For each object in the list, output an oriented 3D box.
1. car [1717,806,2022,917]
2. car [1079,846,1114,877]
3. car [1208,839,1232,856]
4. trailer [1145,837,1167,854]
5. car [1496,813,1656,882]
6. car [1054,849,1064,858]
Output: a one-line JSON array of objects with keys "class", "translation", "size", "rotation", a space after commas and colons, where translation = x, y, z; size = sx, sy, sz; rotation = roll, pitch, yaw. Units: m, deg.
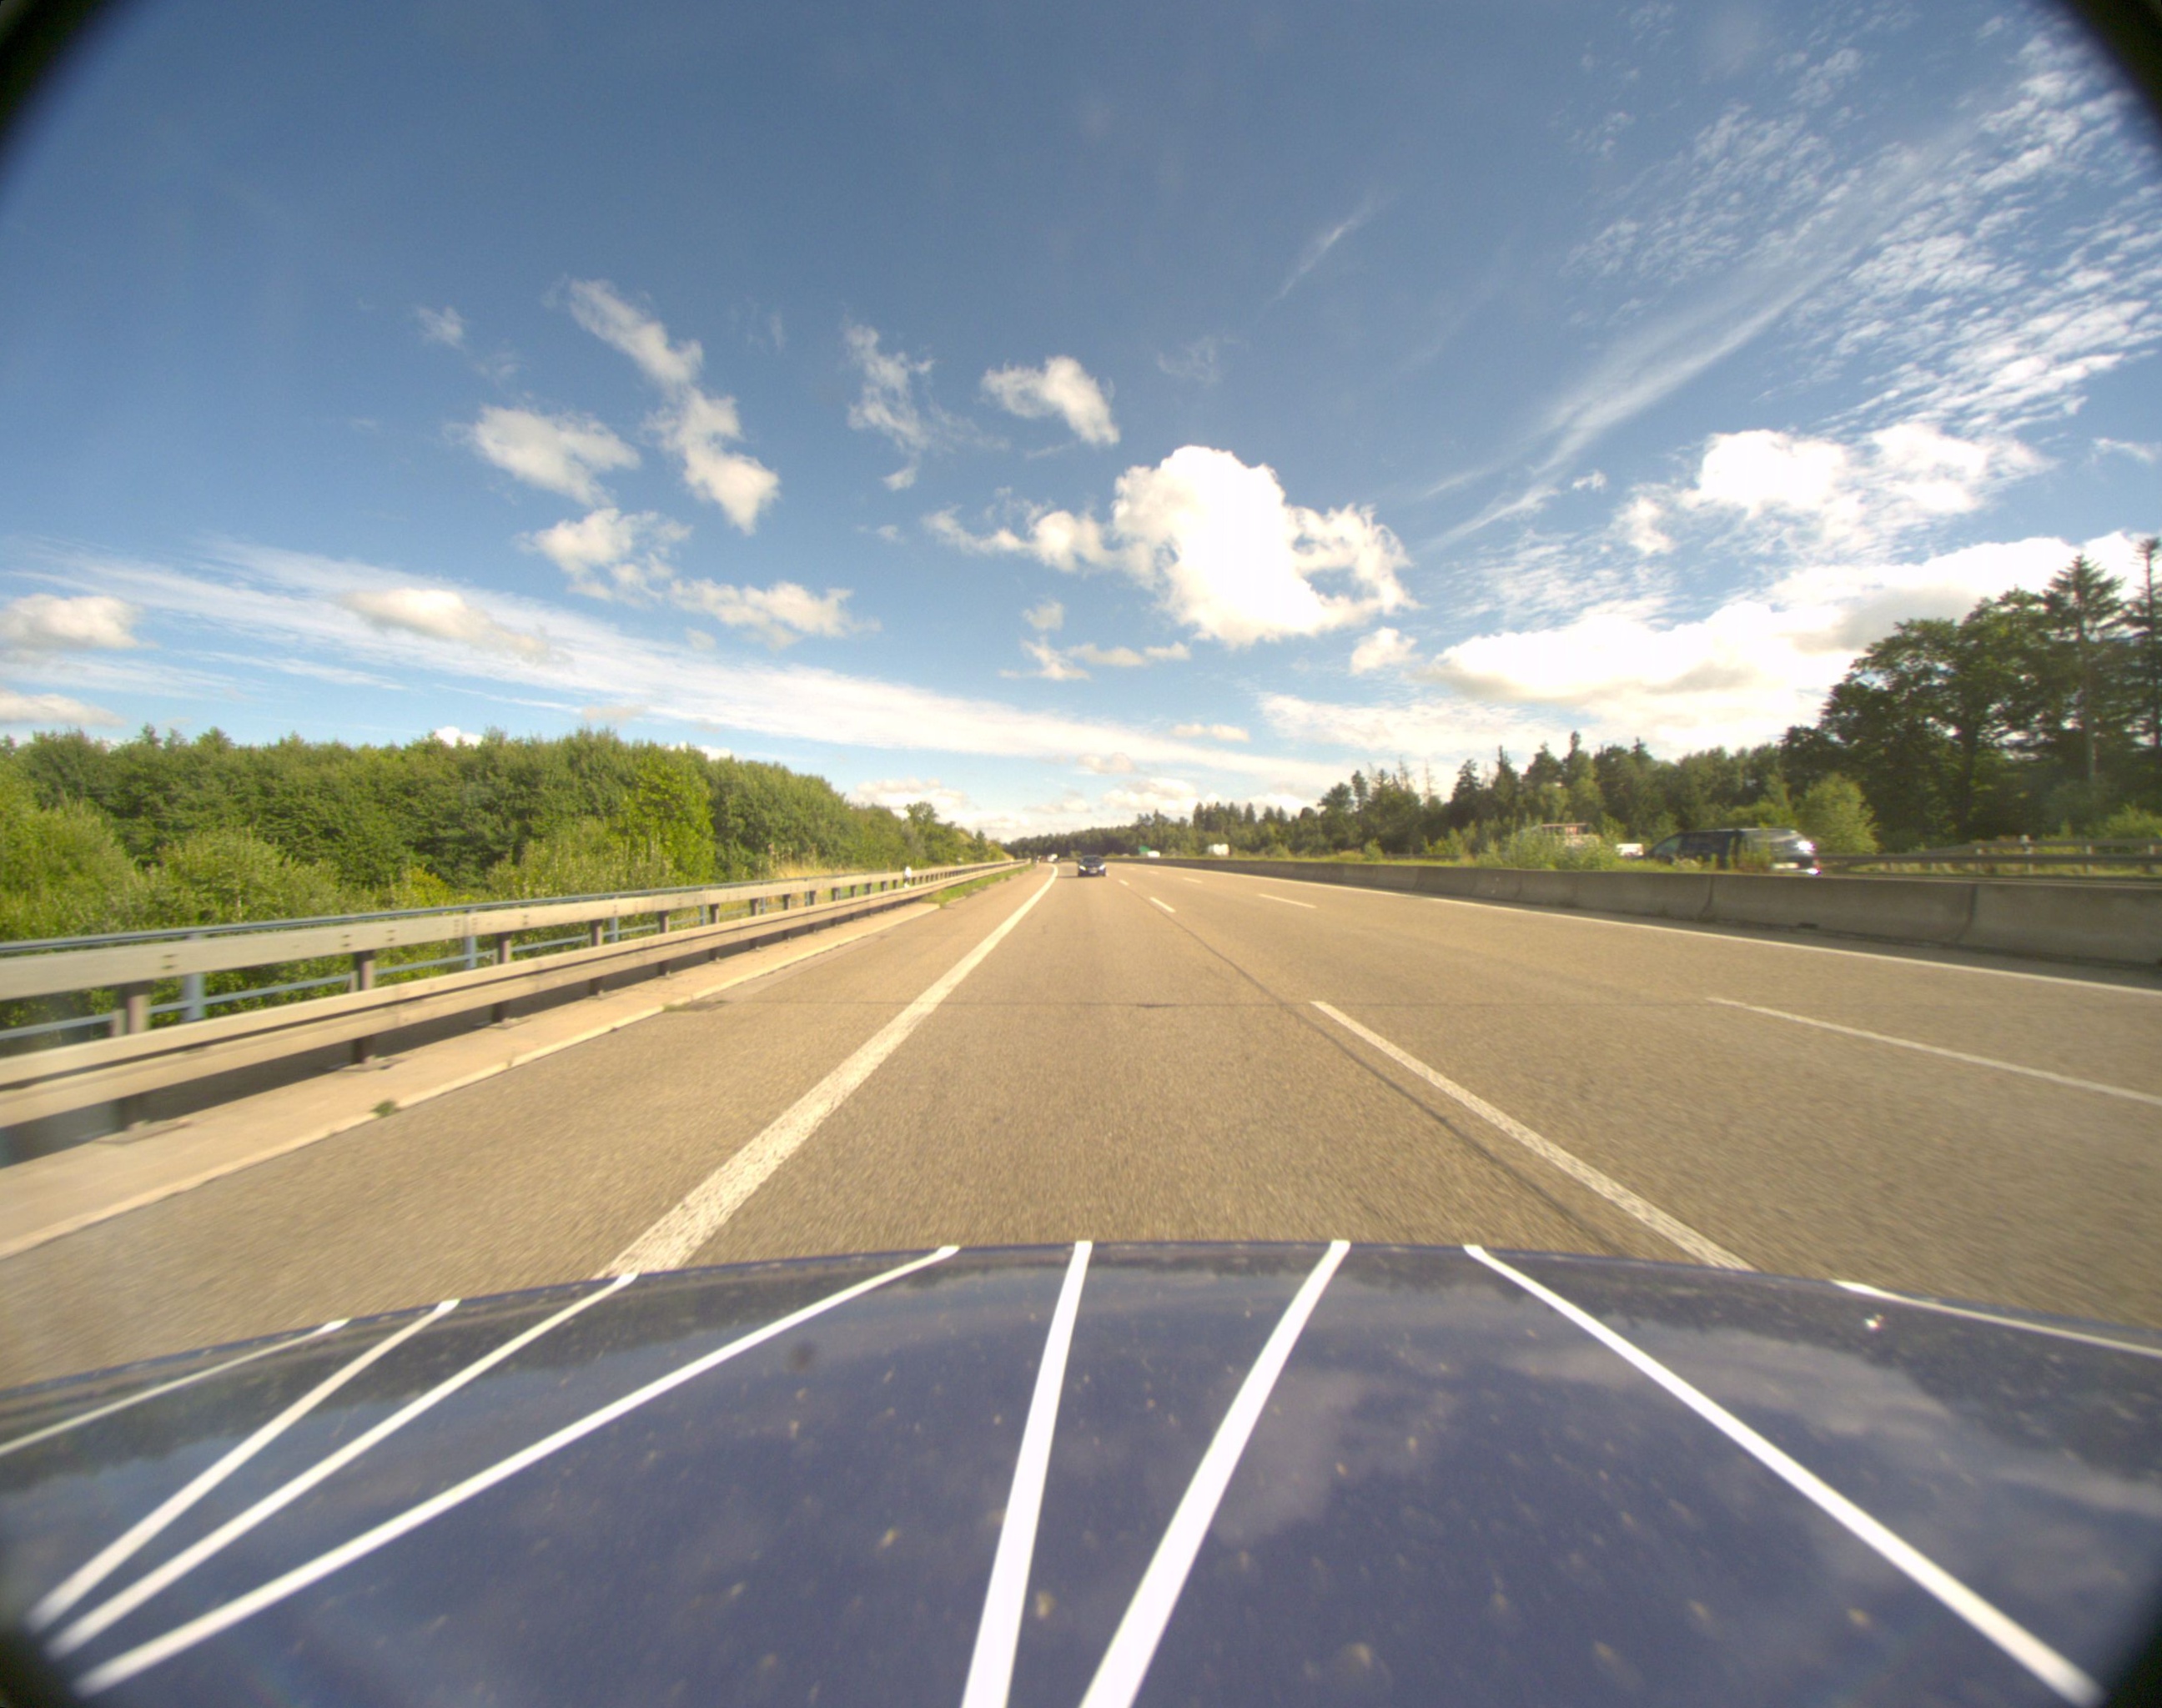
[{"class": "car", "translation": [15.675, 0.121, 15.493], "size": [1.998, 1.827, 4.000], "rotation": [-4, 0, 1]}, {"class": "car", "translation": [0.969, 0.434, 49.099], "size": [1.999, 1.827, 3.999], "rotation": [-2, 1, -2]}, {"class": "car", "translation": [18.555, -0.859, 101.709], "size": [2.070, 2.231, 5.203], "rotation": [-2, 0, 0]}, {"class": "trailer", "translation": [18.094, -1.985, 184.371], "size": [3.384, 3.985, 13.636], "rotation": [-2, 0, -2]}, {"class": "car", "translation": [19.689, -0.267, 30.718], "size": [2.316, 2.305, 6.191], "rotation": [-5, 1, 1]}, {"class": "car", "translation": [-4.987, -0.127, 175.029], "size": [1.998, 2.002, 4.000], "rotation": [-3, 0, 1]}]
